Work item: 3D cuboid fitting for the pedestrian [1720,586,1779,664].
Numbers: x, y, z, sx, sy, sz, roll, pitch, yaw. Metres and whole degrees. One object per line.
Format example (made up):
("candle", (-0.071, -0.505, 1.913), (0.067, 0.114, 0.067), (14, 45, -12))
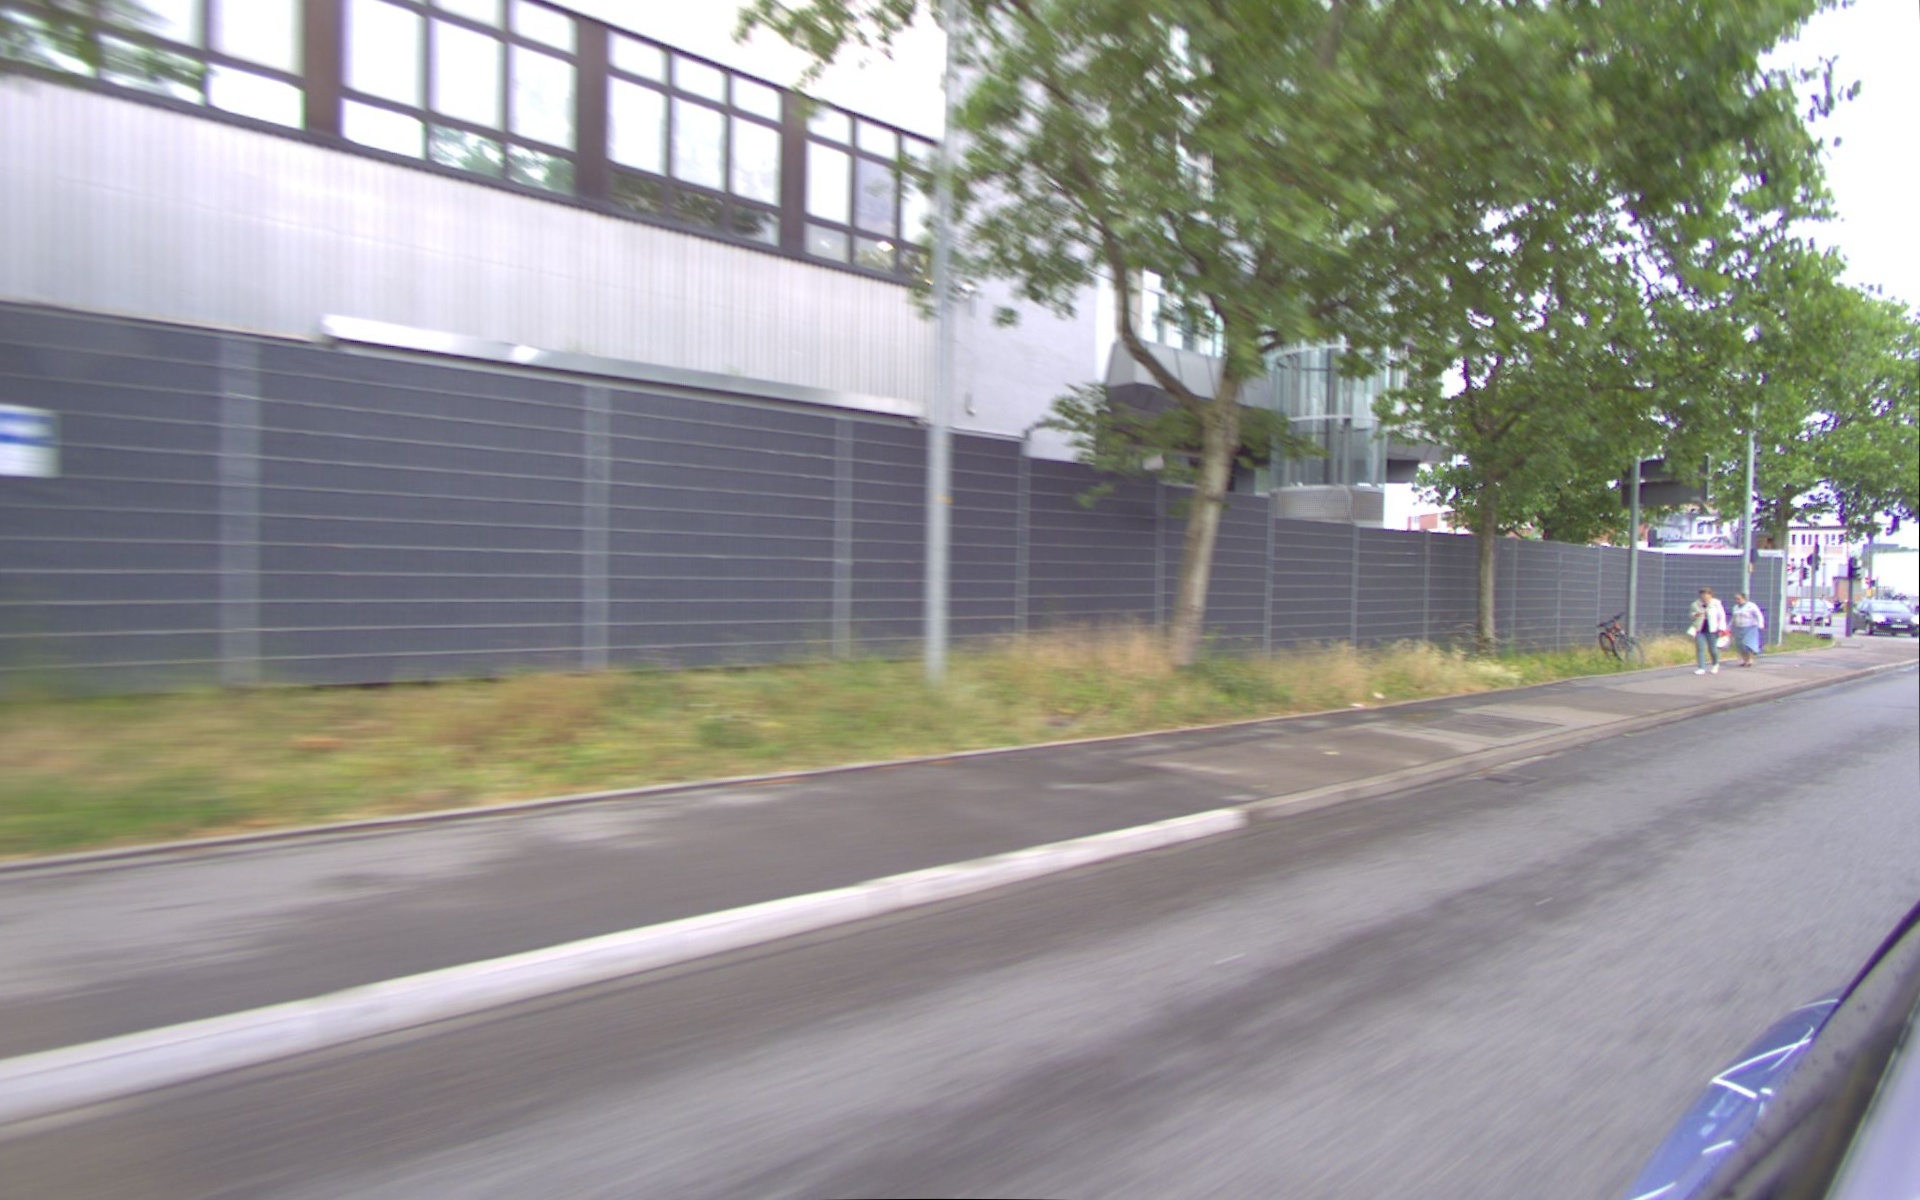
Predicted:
("pedestrian", (16.372, 0.501, 20.977), (0.828, 1.539, 0.832), (0, 1, -44))

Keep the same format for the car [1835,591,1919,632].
("car", (39.740, 0.452, 43.370), (1.669, 1.526, 3.997), (-1, 1, 12))

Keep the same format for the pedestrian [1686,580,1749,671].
("pedestrian", (14.029, 0.456, 18.746), (0.825, 1.612, 0.711), (0, 1, -37))

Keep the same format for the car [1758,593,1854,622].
("car", (47.011, 0.399, 56.290), (4.051, 1.493, 1.724), (-1, 1, 41))

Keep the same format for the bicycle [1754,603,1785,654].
("bicycle", (19.063, 0.645, 23.811), (0.341, 1.132, 1.941), (2, 1, 45))

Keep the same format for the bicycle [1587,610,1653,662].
("bicycle", (13.547, 0.715, 20.829), (0.505, 0.965, 1.697), (1, 1, 11))
